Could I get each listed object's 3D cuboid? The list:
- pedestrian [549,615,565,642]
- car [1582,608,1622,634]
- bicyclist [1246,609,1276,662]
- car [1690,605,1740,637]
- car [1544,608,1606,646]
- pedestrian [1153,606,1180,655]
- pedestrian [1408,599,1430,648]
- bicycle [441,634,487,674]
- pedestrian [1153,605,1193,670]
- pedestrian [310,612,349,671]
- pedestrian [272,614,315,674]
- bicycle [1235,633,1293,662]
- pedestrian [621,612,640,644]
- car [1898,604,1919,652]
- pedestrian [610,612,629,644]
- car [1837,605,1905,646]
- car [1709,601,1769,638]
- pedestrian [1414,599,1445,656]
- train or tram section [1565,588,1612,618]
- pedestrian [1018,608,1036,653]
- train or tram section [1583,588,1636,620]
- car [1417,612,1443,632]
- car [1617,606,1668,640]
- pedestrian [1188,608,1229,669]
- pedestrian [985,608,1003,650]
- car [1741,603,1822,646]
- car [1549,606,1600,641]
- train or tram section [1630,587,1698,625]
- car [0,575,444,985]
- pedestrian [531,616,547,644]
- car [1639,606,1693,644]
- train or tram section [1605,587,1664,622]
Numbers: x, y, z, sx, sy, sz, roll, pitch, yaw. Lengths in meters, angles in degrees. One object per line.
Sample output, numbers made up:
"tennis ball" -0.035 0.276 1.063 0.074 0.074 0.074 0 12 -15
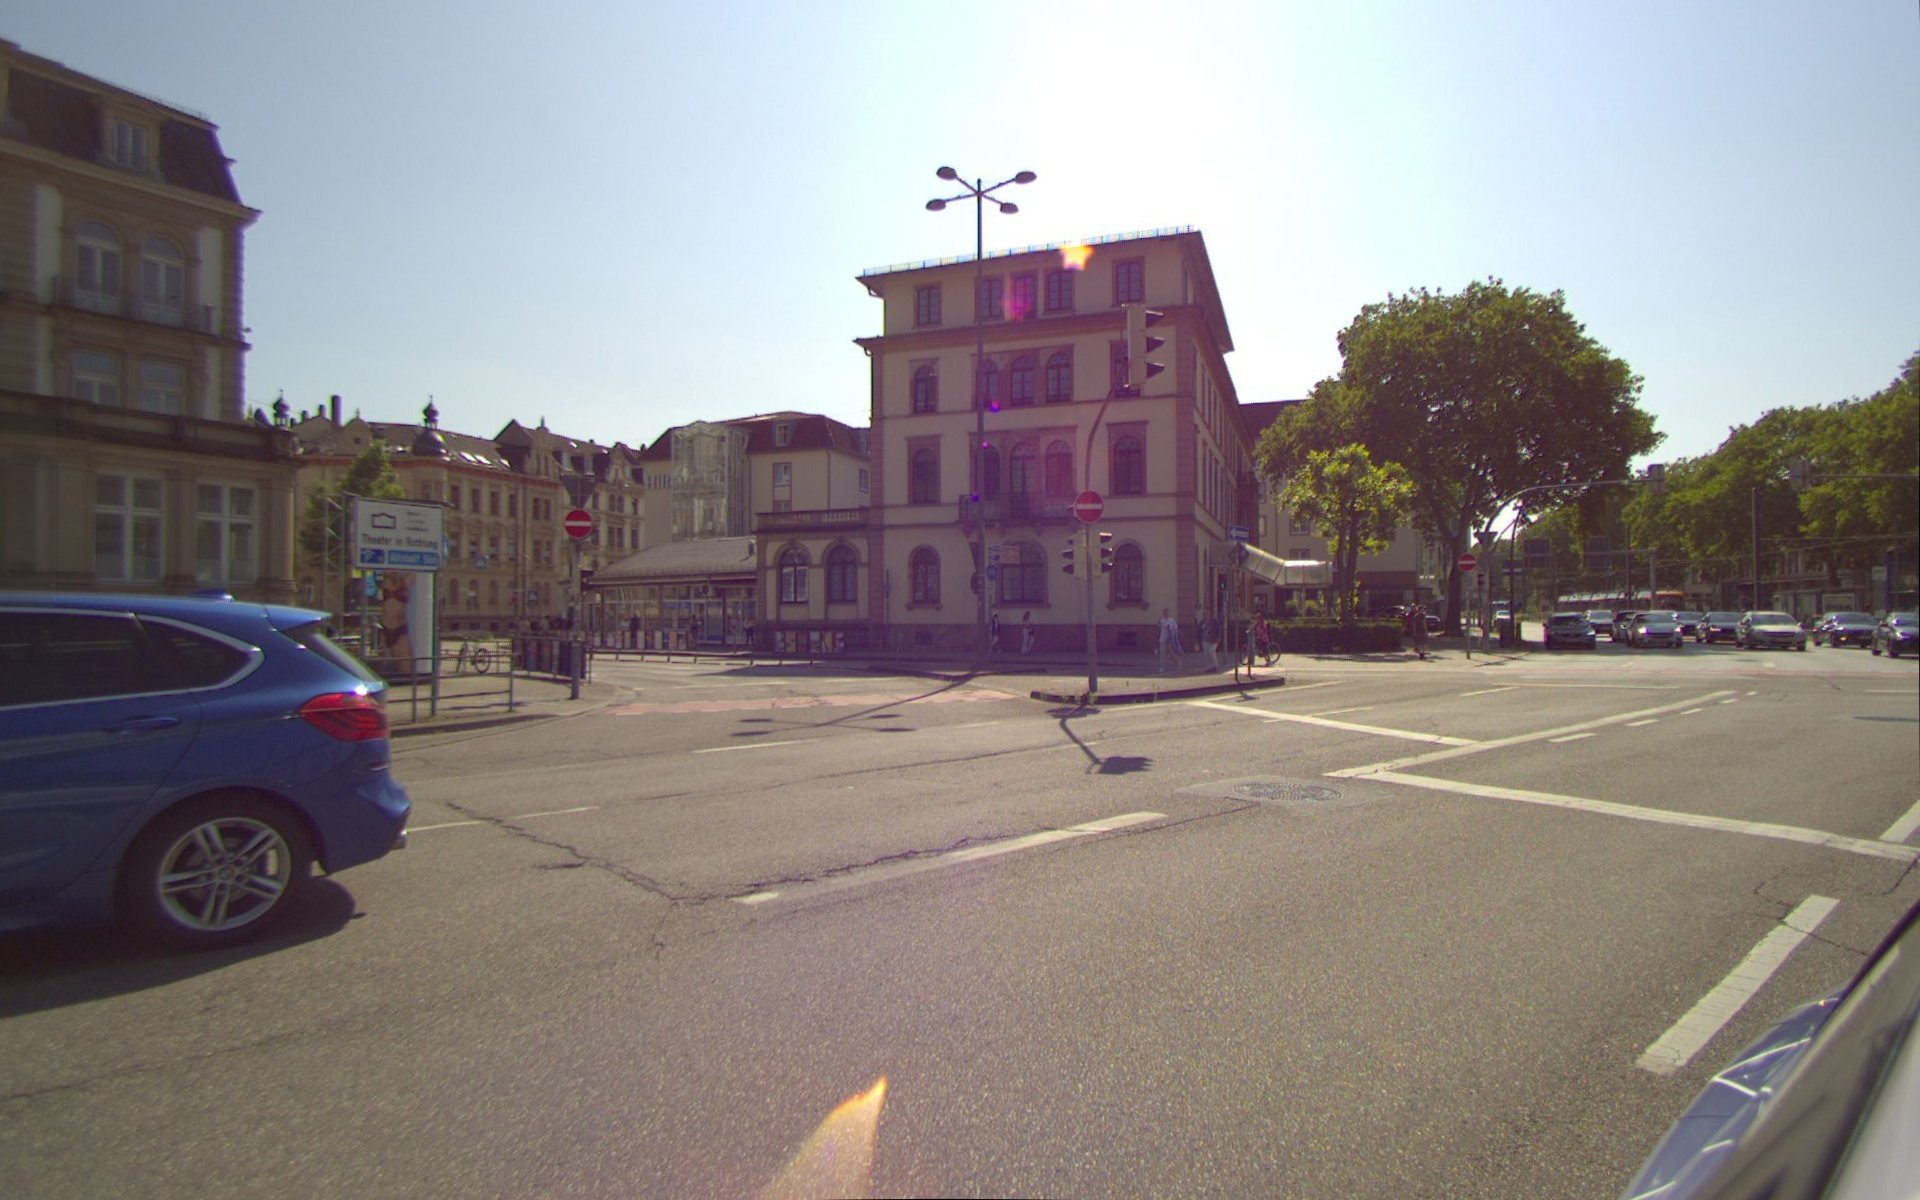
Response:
"pedestrian" -24.146 1.702 60.641 0.706 1.624 0.723 1 -2 -39
"car" 38.387 1.210 60.490 1.781 1.470 3.922 1 0 36
"bicyclist" 9.520 1.116 31.978 0.670 1.627 0.594 0 -1 -19
"car" 38.692 1.026 51.934 1.779 1.543 3.927 1 0 33
"car" 25.900 1.100 42.744 1.773 1.470 3.939 1 0 25
"pedestrian" 7.219 1.066 35.439 0.833 1.717 0.740 -1 -1 19
"pedestrian" 17.334 0.890 38.223 0.719 1.828 0.646 -1 -1 27
"bicycle" -14.760 1.584 30.109 1.811 1.113 0.498 0 -1 38
"pedestrian" 5.688 0.983 27.003 0.750 1.681 0.818 -1 -2 39
"pedestrian" -19.070 1.246 30.616 0.694 1.774 0.715 -1 -1 25
"pedestrian" -19.905 1.298 30.223 0.812 1.763 0.744 -1 -1 25
"bicycle" 9.605 1.502 32.001 1.708 0.866 0.594 0 -1 -19
"pedestrian" -17.144 1.461 52.727 0.707 1.624 0.722 1 -2 -43
"car" 31.336 0.872 32.247 4.207 1.470 1.789 1 0 -42
"pedestrian" -17.586 1.455 52.296 0.707 1.624 0.722 1 -2 -44
"car" 36.558 0.988 40.589 3.908 1.536 1.788 1 0 -44
"car" 34.981 0.840 45.535 1.779 1.543 3.927 1 0 33
"pedestrian" 15.583 0.899 33.623 0.714 1.869 0.592 0 -1 -3
"train or tram section" 72.962 0.423 117.691 2.699 3.309 8.682 -1 -1 19
"pedestrian" 2.512 1.151 37.900 0.529 1.670 0.575 -1 -1 23
"train or tram section" 70.147 0.464 109.469 2.699 3.309 8.682 -1 -1 19
"car" 31.836 1.490 68.589 1.574 1.339 3.549 -1 -1 24
"car" 33.032 1.081 49.042 1.777 1.550 3.931 1 0 30
"pedestrian" 6.612 1.014 26.881 0.770 1.592 0.817 -2 -2 40
"pedestrian" 1.355 1.153 40.165 0.529 1.670 0.669 -1 -1 23
"car" 31.496 0.935 38.915 1.706 1.519 4.442 1 -1 30
"car" 29.809 1.102 49.183 1.775 1.545 3.936 1 0 27
"train or tram section" 64.588 0.545 93.040 2.699 3.309 8.682 -1 -1 19
"car" -4.637 0.708 4.176 4.196 1.561 1.721 0 -2 -41
"pedestrian" -24.813 1.755 59.625 0.706 1.624 0.724 1 -2 -38
"car" 29.577 1.006 42.468 1.780 1.470 3.924 1 0 34
"train or tram section" 67.357 0.504 101.237 2.699 3.309 8.682 -1 -1 19
